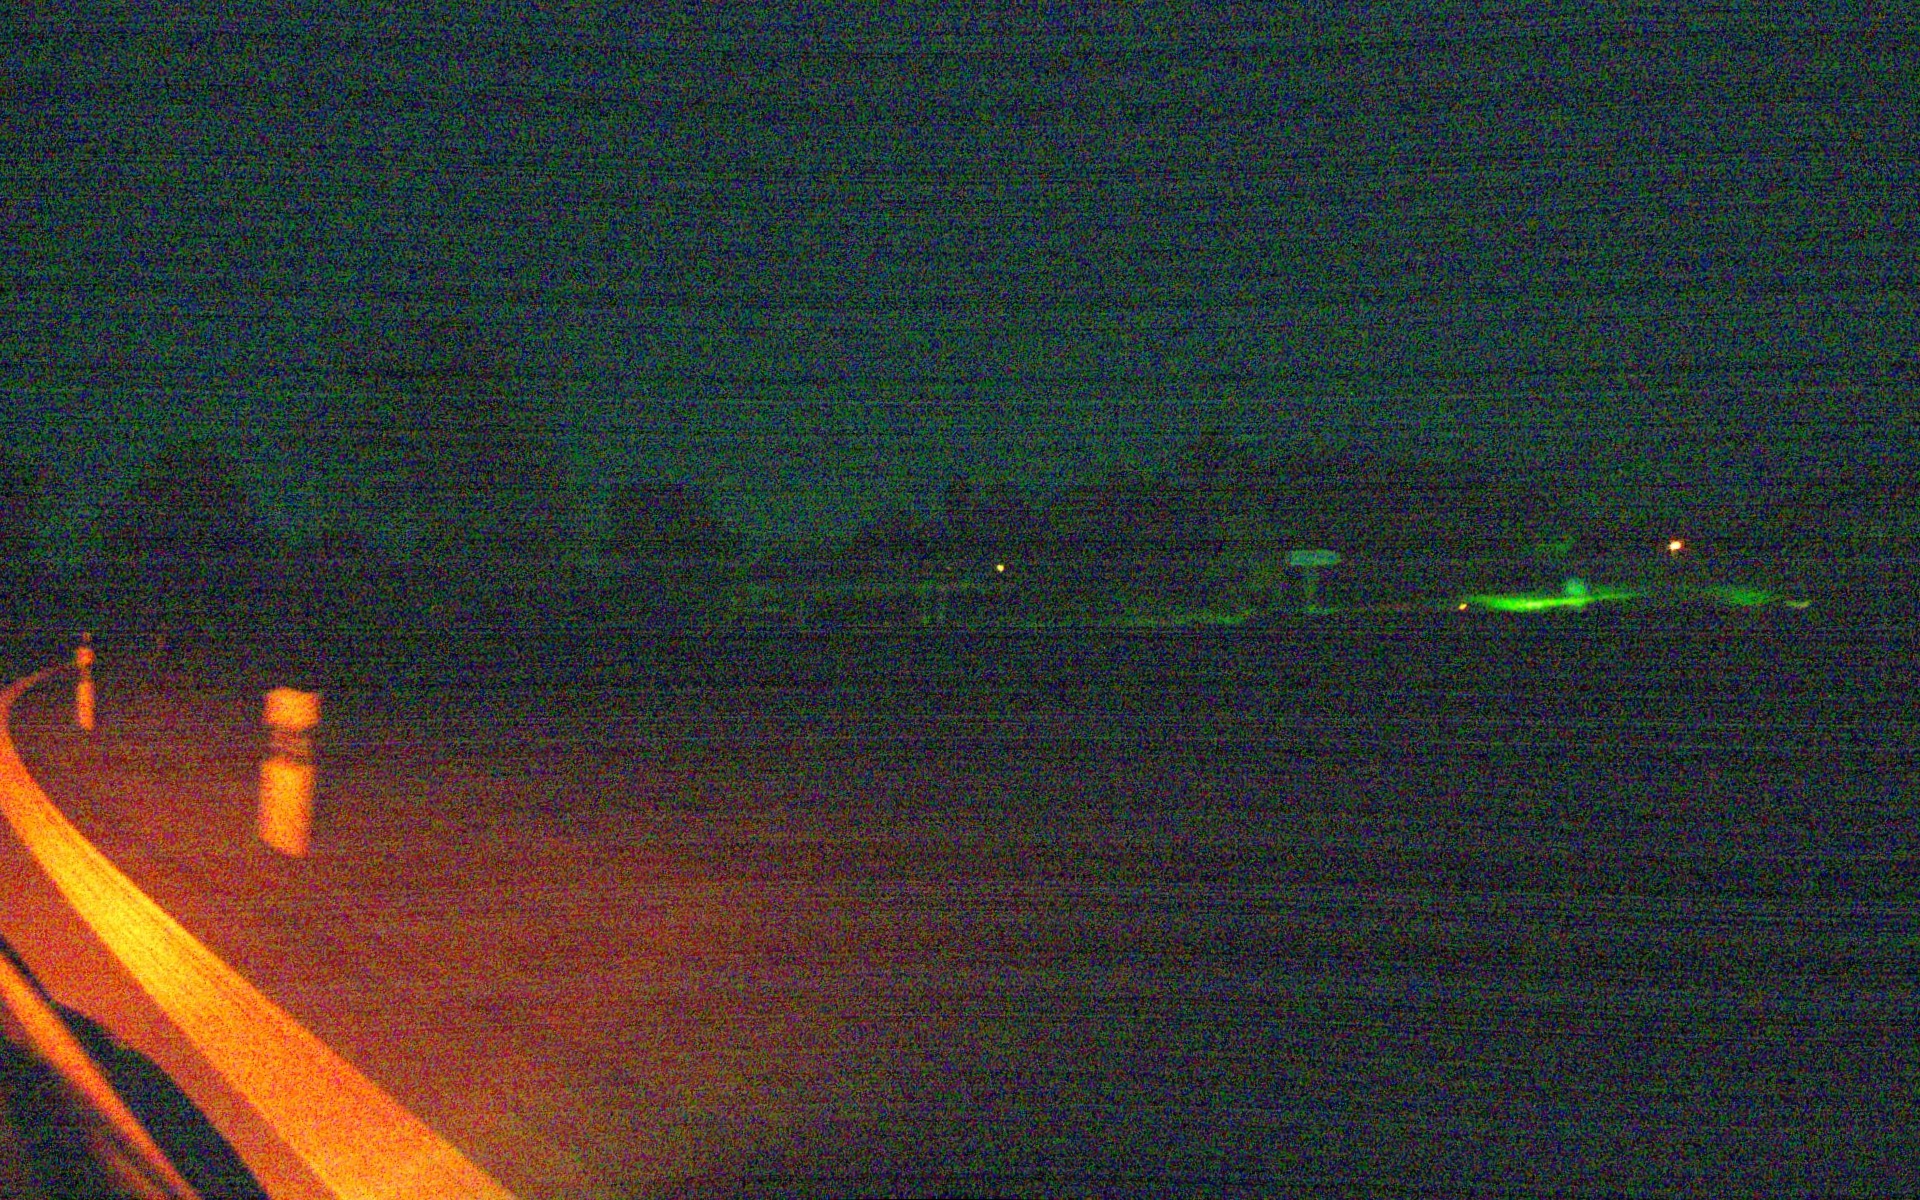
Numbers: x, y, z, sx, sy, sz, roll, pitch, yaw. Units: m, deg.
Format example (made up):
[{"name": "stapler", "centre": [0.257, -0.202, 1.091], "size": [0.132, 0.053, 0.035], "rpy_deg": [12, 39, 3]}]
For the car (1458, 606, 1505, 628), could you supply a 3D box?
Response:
[{"name": "car", "centre": [48.072, 1.573, 93.337], "size": [3.931, 1.798, 1.883], "rpy_deg": [2, 0, -28]}]

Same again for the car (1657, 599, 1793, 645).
[{"name": "car", "centre": [31.212, 0.927, 41.426], "size": [1.757, 1.770, 4.013], "rpy_deg": [0, -2, -24]}]
